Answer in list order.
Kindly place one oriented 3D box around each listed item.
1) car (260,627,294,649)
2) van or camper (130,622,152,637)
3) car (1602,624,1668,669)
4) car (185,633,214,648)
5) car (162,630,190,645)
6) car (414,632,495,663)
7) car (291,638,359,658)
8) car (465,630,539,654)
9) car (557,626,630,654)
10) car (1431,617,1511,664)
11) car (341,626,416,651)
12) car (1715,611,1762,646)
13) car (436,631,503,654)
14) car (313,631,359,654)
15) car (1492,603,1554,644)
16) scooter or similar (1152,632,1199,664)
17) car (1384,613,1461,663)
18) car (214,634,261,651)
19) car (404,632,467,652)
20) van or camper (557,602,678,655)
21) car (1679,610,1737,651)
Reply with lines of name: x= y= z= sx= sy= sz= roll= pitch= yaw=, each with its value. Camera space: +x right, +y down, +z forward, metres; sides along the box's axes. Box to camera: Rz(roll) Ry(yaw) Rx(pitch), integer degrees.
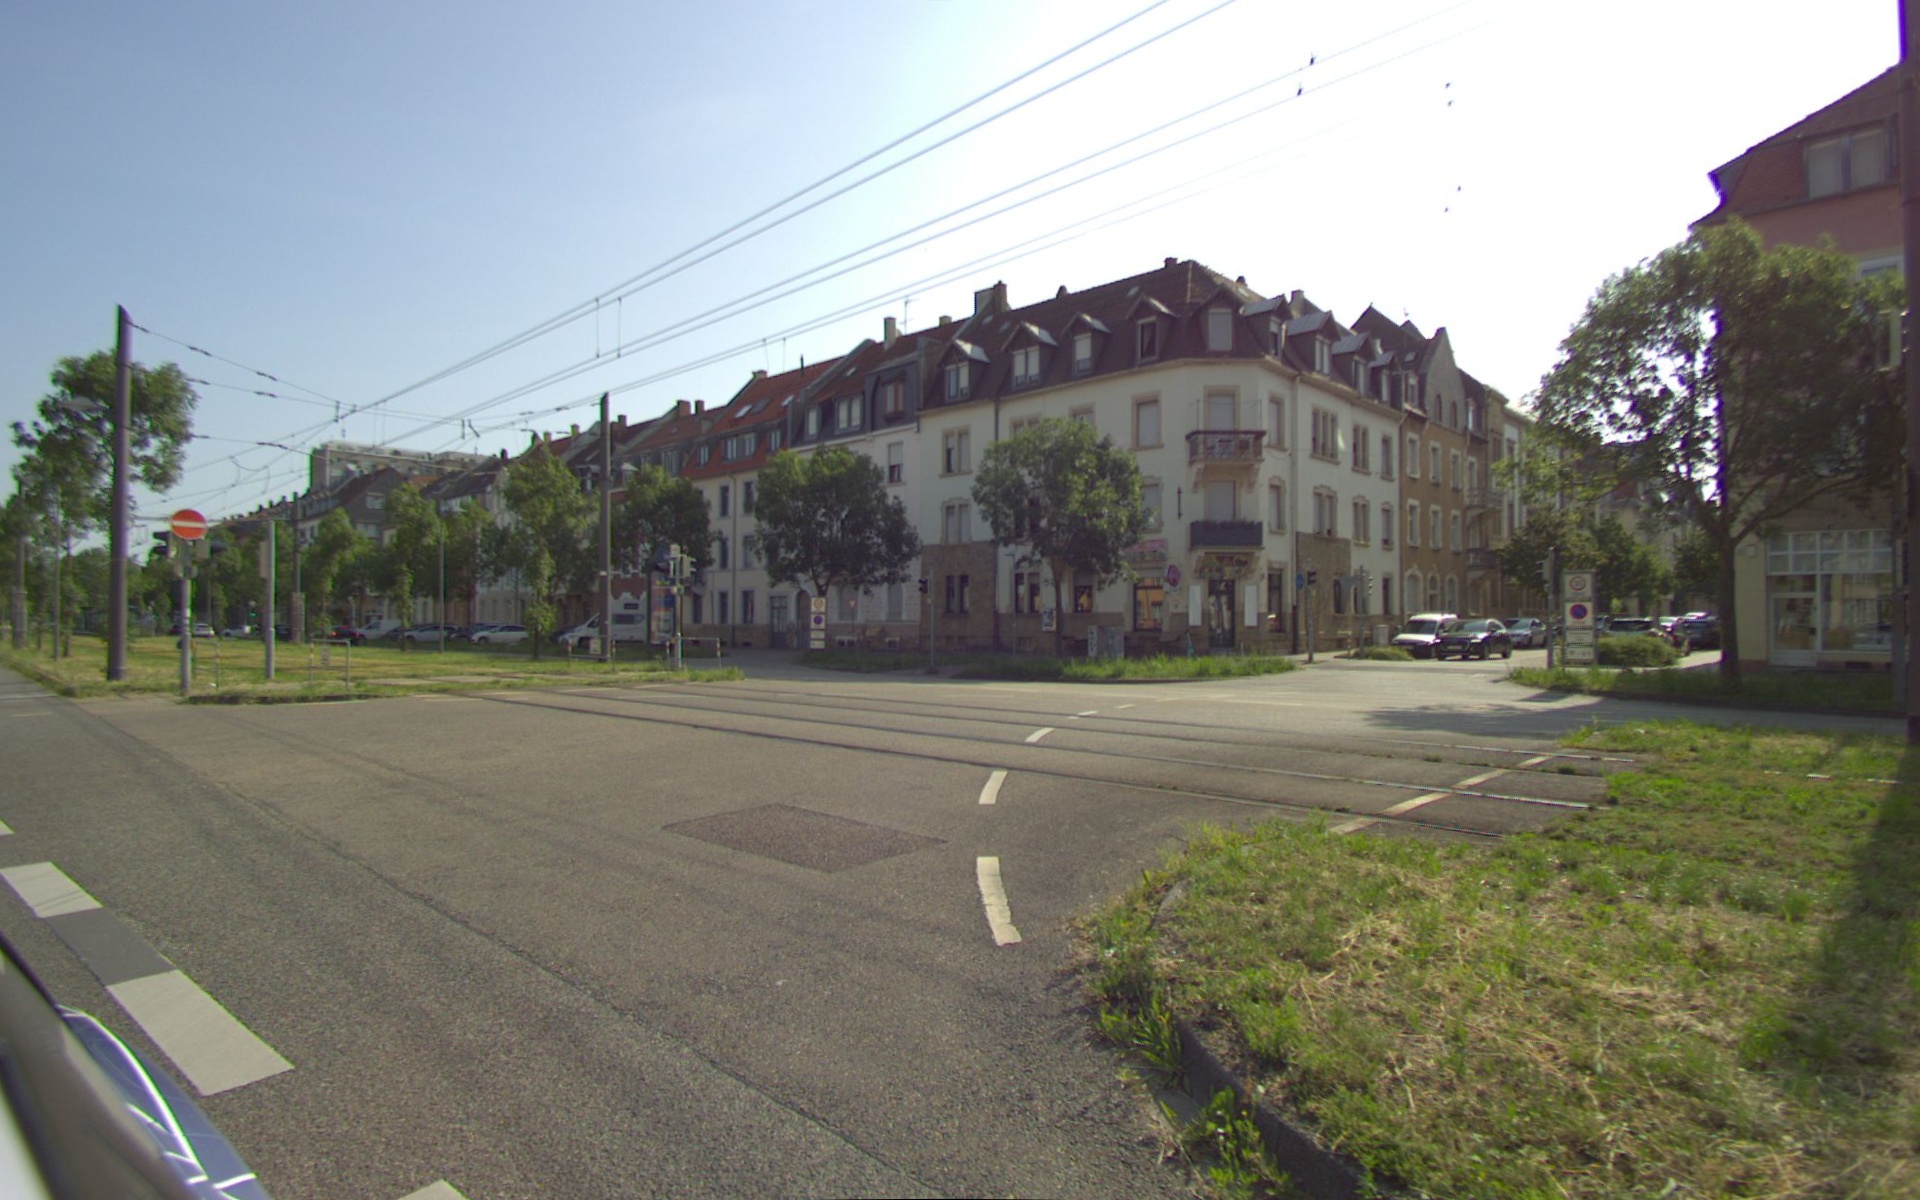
car: x=-56.195 y=3.125 z=83.226 sx=1.743 sy=1.668 sz=4.004 roll=-2 pitch=0 yaw=-43
van or camper: x=-125.383 y=4.466 z=154.882 sx=5.354 sy=2.113 sz=1.930 roll=-1 pitch=0 yaw=44
car: x=25.187 y=1.684 z=37.700 sx=1.569 sy=1.472 sz=3.362 roll=-1 pitch=0 yaw=42
car: x=-80.800 y=4.309 z=107.563 sx=1.925 sy=1.470 sz=4.652 roll=-2 pitch=0 yaw=-44
car: x=-92.347 y=4.363 z=119.164 sx=1.971 sy=1.642 sz=5.383 roll=-2 pitch=0 yaw=-44
car: x=-33.296 y=3.104 z=66.777 sx=4.568 sy=1.756 sz=1.840 roll=-2 pitch=0 yaw=-21
car: x=-56.702 y=4.239 z=90.426 sx=4.698 sy=1.496 sz=2.028 roll=-2 pitch=0 yaw=-14
car: x=-28.437 y=2.601 z=62.939 sx=3.949 sy=1.326 sz=1.666 roll=-2 pitch=0 yaw=-11
car: x=-20.413 y=2.218 z=56.453 sx=3.626 sy=1.341 sz=1.666 roll=-2 pitch=0 yaw=-11
car: x=20.151 y=1.541 z=39.819 sx=1.833 sy=1.633 sz=3.945 roll=-1 pitch=0 yaw=42
car: x=-46.861 y=3.102 z=81.627 sx=4.871 sy=1.739 sz=1.861 roll=-2 pitch=0 yaw=-11
car: x=45.319 y=1.644 z=58.885 sx=1.833 sy=1.863 sz=3.945 roll=-1 pitch=0 yaw=42
car: x=-31.408 y=2.704 z=64.887 sx=3.625 sy=1.251 sz=1.667 roll=-2 pitch=0 yaw=-13
car: x=-43.799 y=2.973 z=71.002 sx=3.926 sy=1.444 sz=1.792 roll=-1 pitch=0 yaw=44
car: x=28.085 y=1.129 z=50.458 sx=1.833 sy=1.863 sz=3.945 roll=-1 pitch=0 yaw=42
scooter or similar: x=7.523 y=1.674 z=35.375 sx=1.479 sy=1.077 sz=0.736 roll=-1 pitch=0 yaw=23
car: x=19.523 y=1.562 z=42.608 sx=1.833 sy=1.863 sz=3.945 roll=-1 pitch=0 yaw=42
car: x=-83.546 y=4.863 z=117.068 sx=3.936 sy=1.739 sz=2.004 roll=-2 pitch=0 yaw=-9
car: x=-37.385 y=2.976 z=72.196 sx=3.626 sy=1.251 sz=1.666 roll=-2 pitch=0 yaw=-11
van or camper: x=-18.253 y=1.475 z=54.173 sx=5.829 sy=2.593 sz=2.204 roll=-2 pitch=0 yaw=-11
car: x=35.650 y=1.434 z=48.178 sx=1.833 sy=1.863 sz=3.944 roll=-1 pitch=-2 yaw=42
